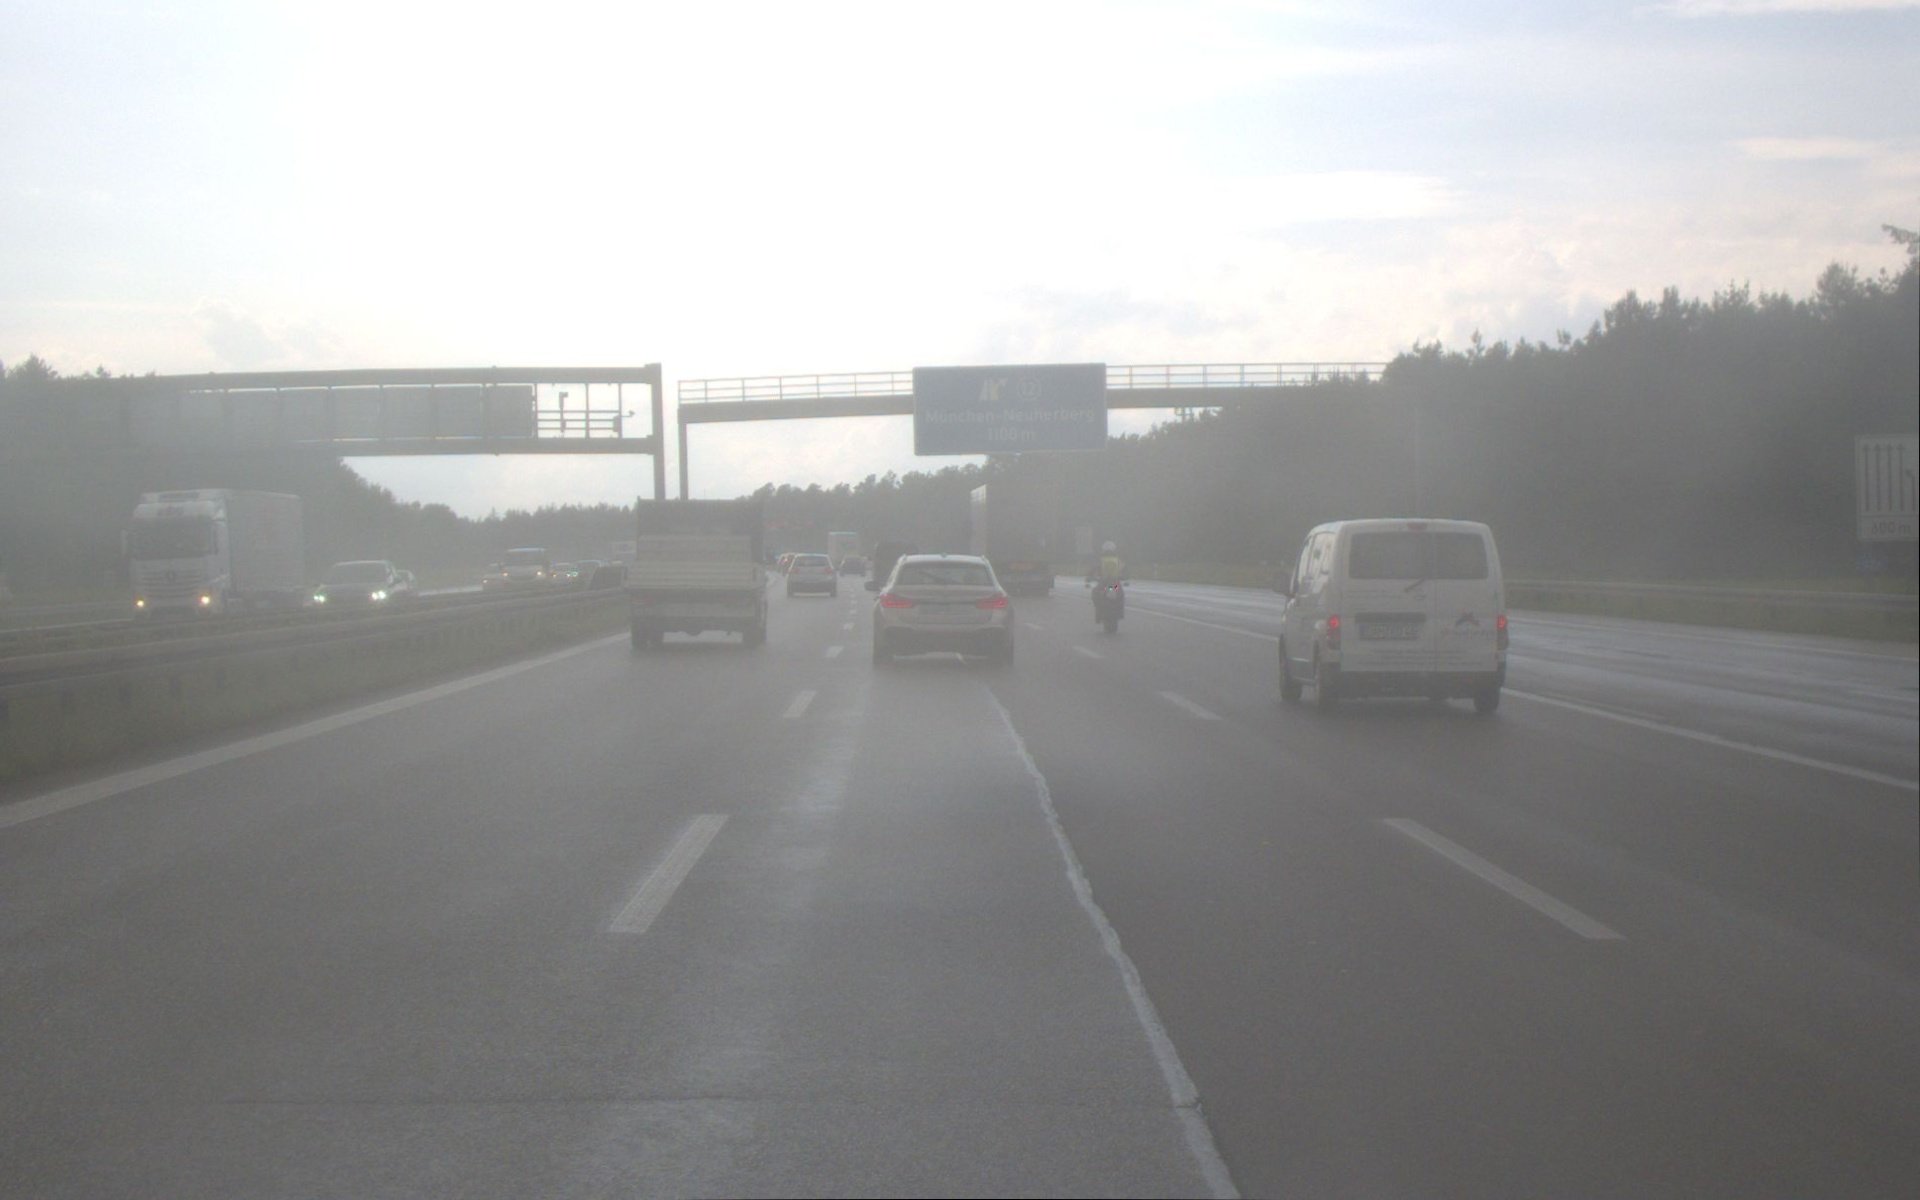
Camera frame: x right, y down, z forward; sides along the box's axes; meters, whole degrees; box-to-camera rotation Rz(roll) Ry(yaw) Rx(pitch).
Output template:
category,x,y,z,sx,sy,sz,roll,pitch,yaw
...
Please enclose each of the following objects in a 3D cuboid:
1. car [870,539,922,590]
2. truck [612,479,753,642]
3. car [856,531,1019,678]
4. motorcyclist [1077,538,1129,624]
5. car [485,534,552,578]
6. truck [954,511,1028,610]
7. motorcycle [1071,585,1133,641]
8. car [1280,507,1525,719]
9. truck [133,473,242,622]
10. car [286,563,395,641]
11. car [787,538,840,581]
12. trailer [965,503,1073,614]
category,x,y,z,sx,sy,sz,roll,pitch,yaw
car,-2.579,-1.431,138.382,1.908,2.007,4.001,0,1,-3
truck,-4.418,-0.644,55.038,2.137,2.480,5.313,0,1,-4
car,-0.277,0.037,46.590,2.078,1.878,5.011,0,0,0
motorcyclist,2.700,-0.365,64.993,0.891,1.609,0.959,0,1,-2
car,-20.883,-2.098,162.938,2.283,2.007,6.739,0,1,0
truck,1.220,-1.565,137.284,2.293,3.855,5.393,0,0,-7
motorcycle,2.686,0.236,65.137,1.000,1.028,2.174,0,1,-2
car,4.242,0.081,33.625,1.964,1.895,4.881,1,1,3
truck,-22.531,-1.526,100.447,2.139,4.223,4.707,1,1,-1
car,-13.971,0.028,77.740,1.859,1.656,4.473,0,1,-3
car,-5.159,-1.428,121.161,1.831,1.461,4.000,0,1,-2
trailer,2.121,-1.547,129.914,2.323,3.988,13.415,0,1,-7
